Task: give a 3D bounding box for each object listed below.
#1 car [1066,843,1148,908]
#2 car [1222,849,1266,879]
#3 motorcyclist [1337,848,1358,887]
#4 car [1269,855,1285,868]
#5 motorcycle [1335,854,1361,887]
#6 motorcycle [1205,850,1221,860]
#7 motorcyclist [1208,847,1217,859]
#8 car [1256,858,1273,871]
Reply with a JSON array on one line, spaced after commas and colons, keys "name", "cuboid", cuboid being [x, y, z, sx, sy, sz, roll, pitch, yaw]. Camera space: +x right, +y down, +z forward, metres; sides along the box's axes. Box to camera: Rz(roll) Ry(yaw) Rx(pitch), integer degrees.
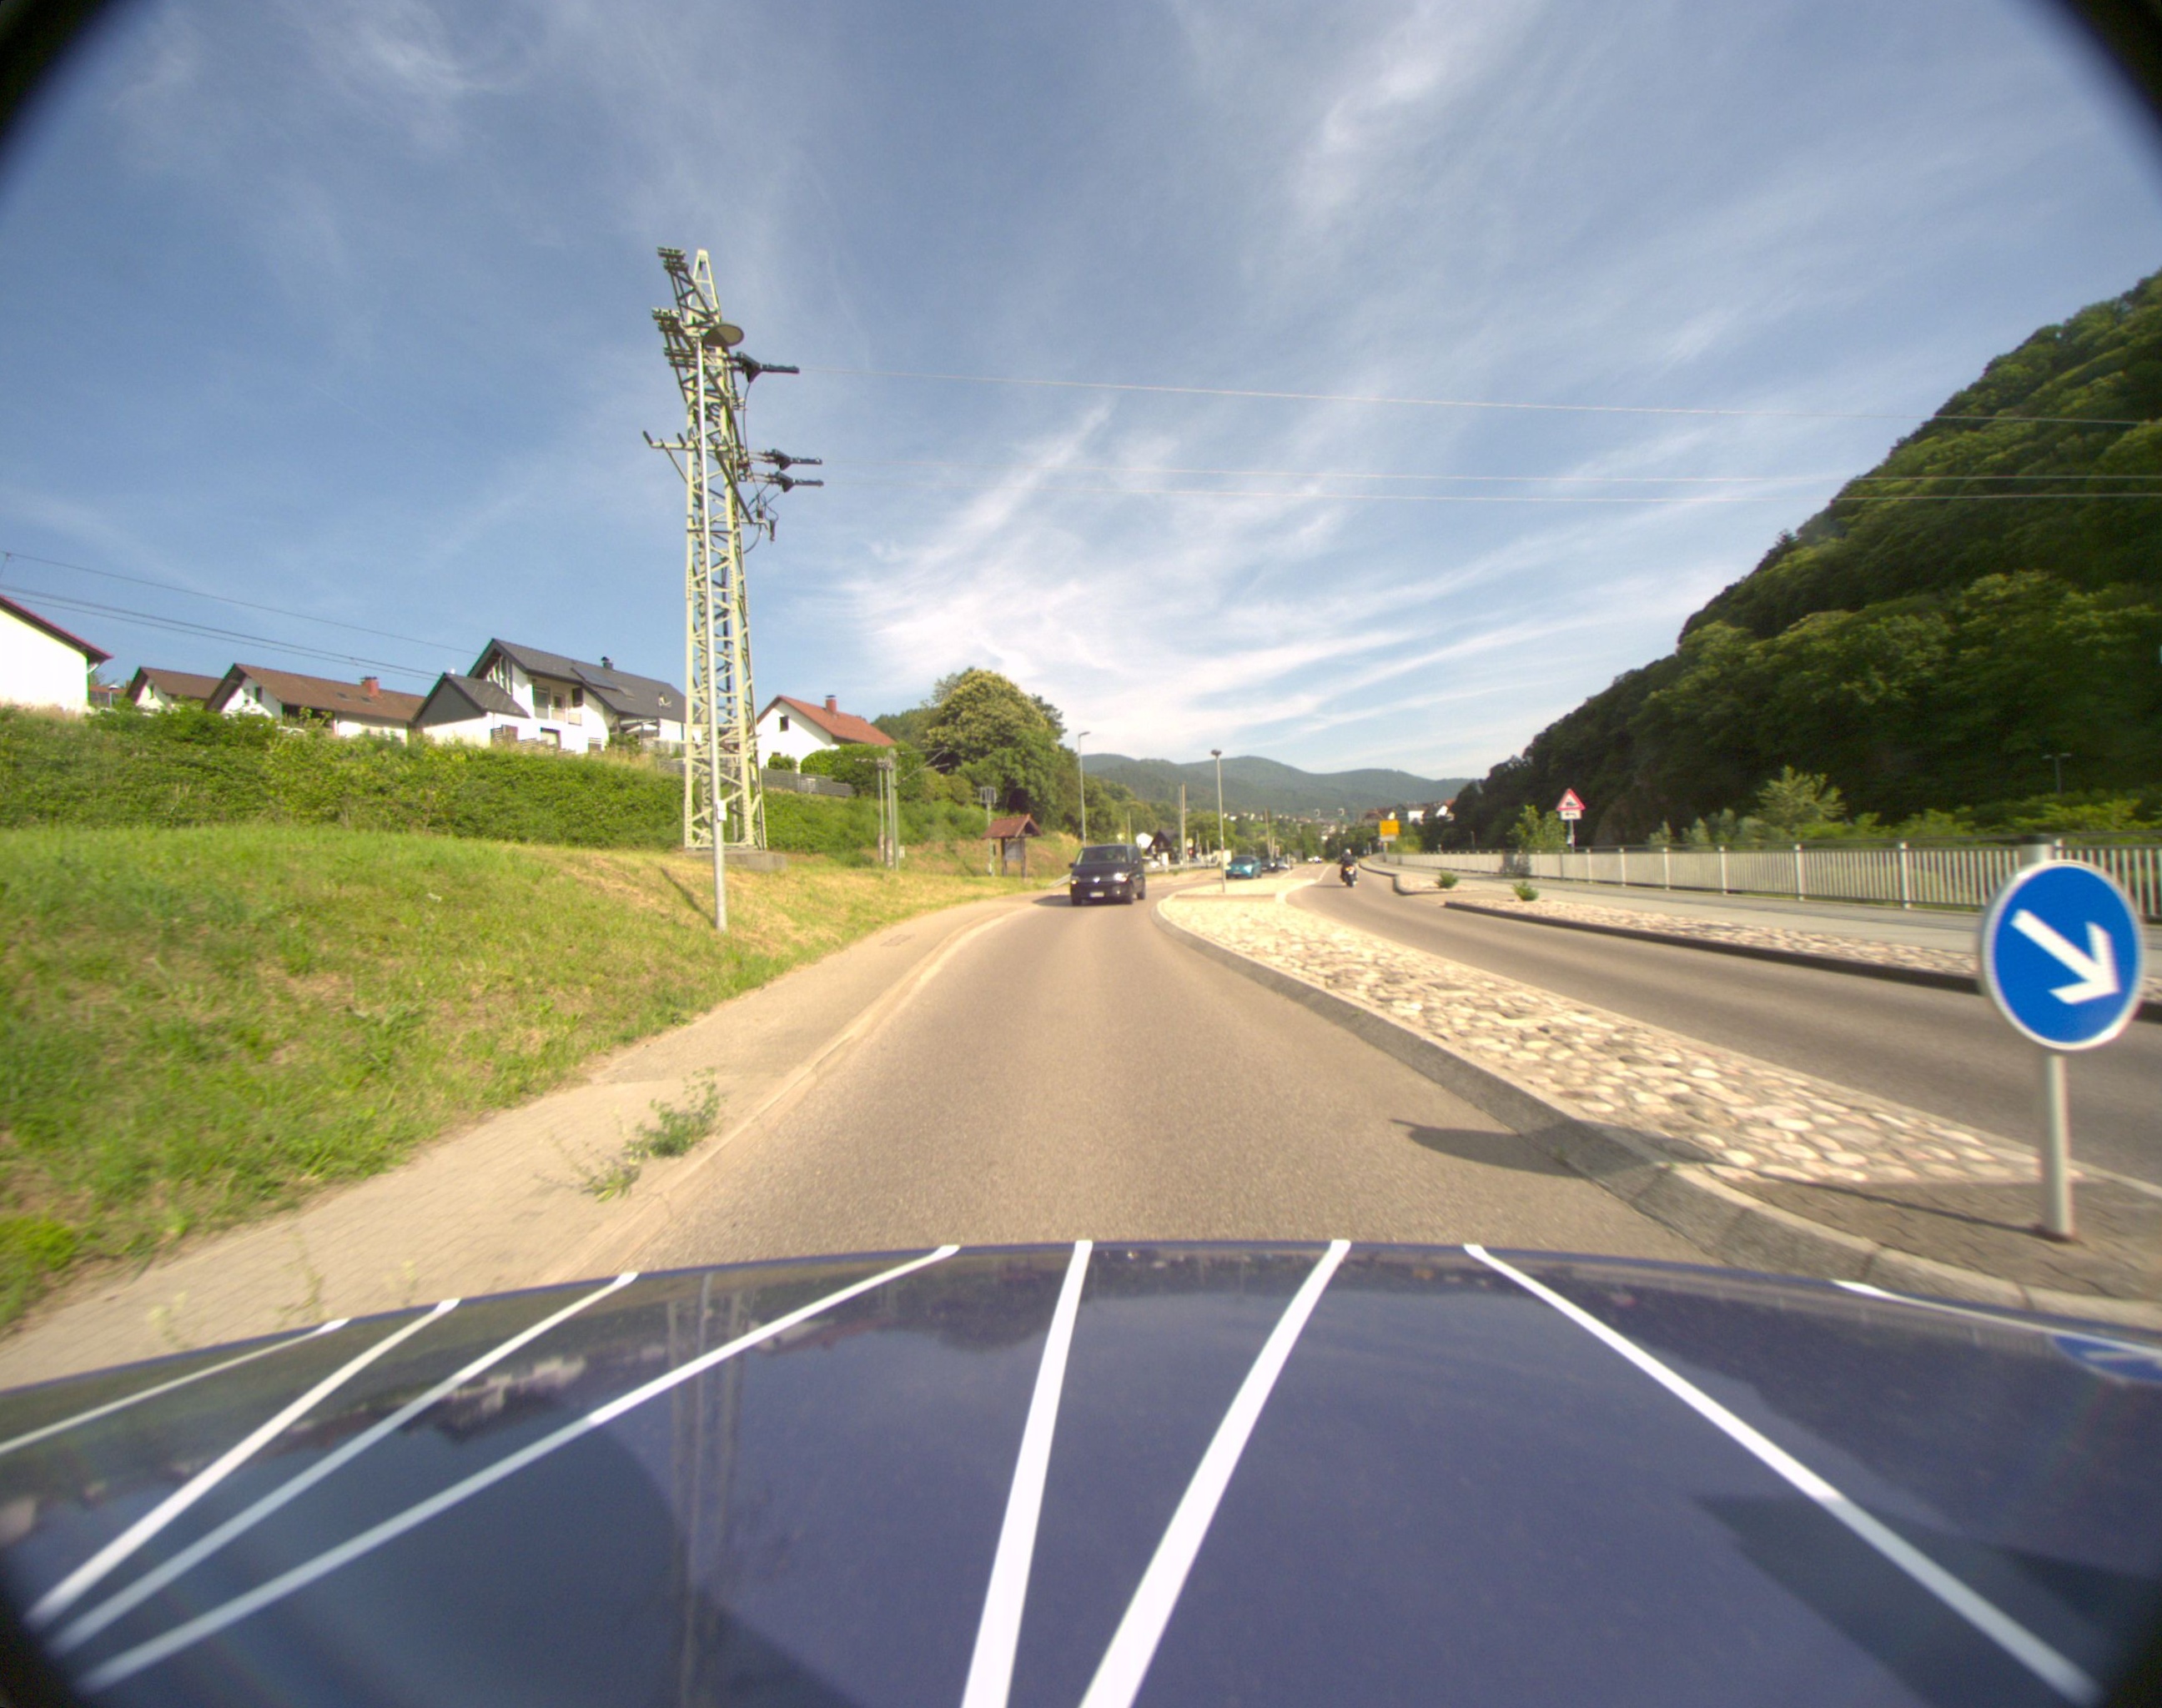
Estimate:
[{"name": "car", "cuboid": [0.969, 0.634, 24.943, 1.863, 1.936, 4.642, 0, 0, 13]}, {"name": "car", "cuboid": [10.730, 0.633, 49.825, 1.880, 1.728, 4.521, -2, 1, 23]}, {"name": "motorcyclist", "cuboid": [11.947, 0.603, 34.058, 0.764, 1.668, 0.727, -2, 1, 13]}, {"name": "car", "cuboid": [20.368, 0.760, 79.084, 1.303, 1.216, 2.932, -4, -1, 19]}, {"name": "motorcycle", "cuboid": [11.938, 0.719, 34.011, 0.774, 1.414, 2.320, -2, 0, 12]}, {"name": "motorcycle", "cuboid": [18.830, 0.152, 108.557, 2.094, 1.247, 0.800, -4, -1, 38]}, {"name": "motorcyclist", "cuboid": [18.770, -0.132, 108.542, 0.907, 1.587, 0.767, -4, -1, 37]}, {"name": "car", "cuboid": [15.663, 0.882, 64.863, 1.303, 0.963, 3.209, -4, -1, 15]}]
